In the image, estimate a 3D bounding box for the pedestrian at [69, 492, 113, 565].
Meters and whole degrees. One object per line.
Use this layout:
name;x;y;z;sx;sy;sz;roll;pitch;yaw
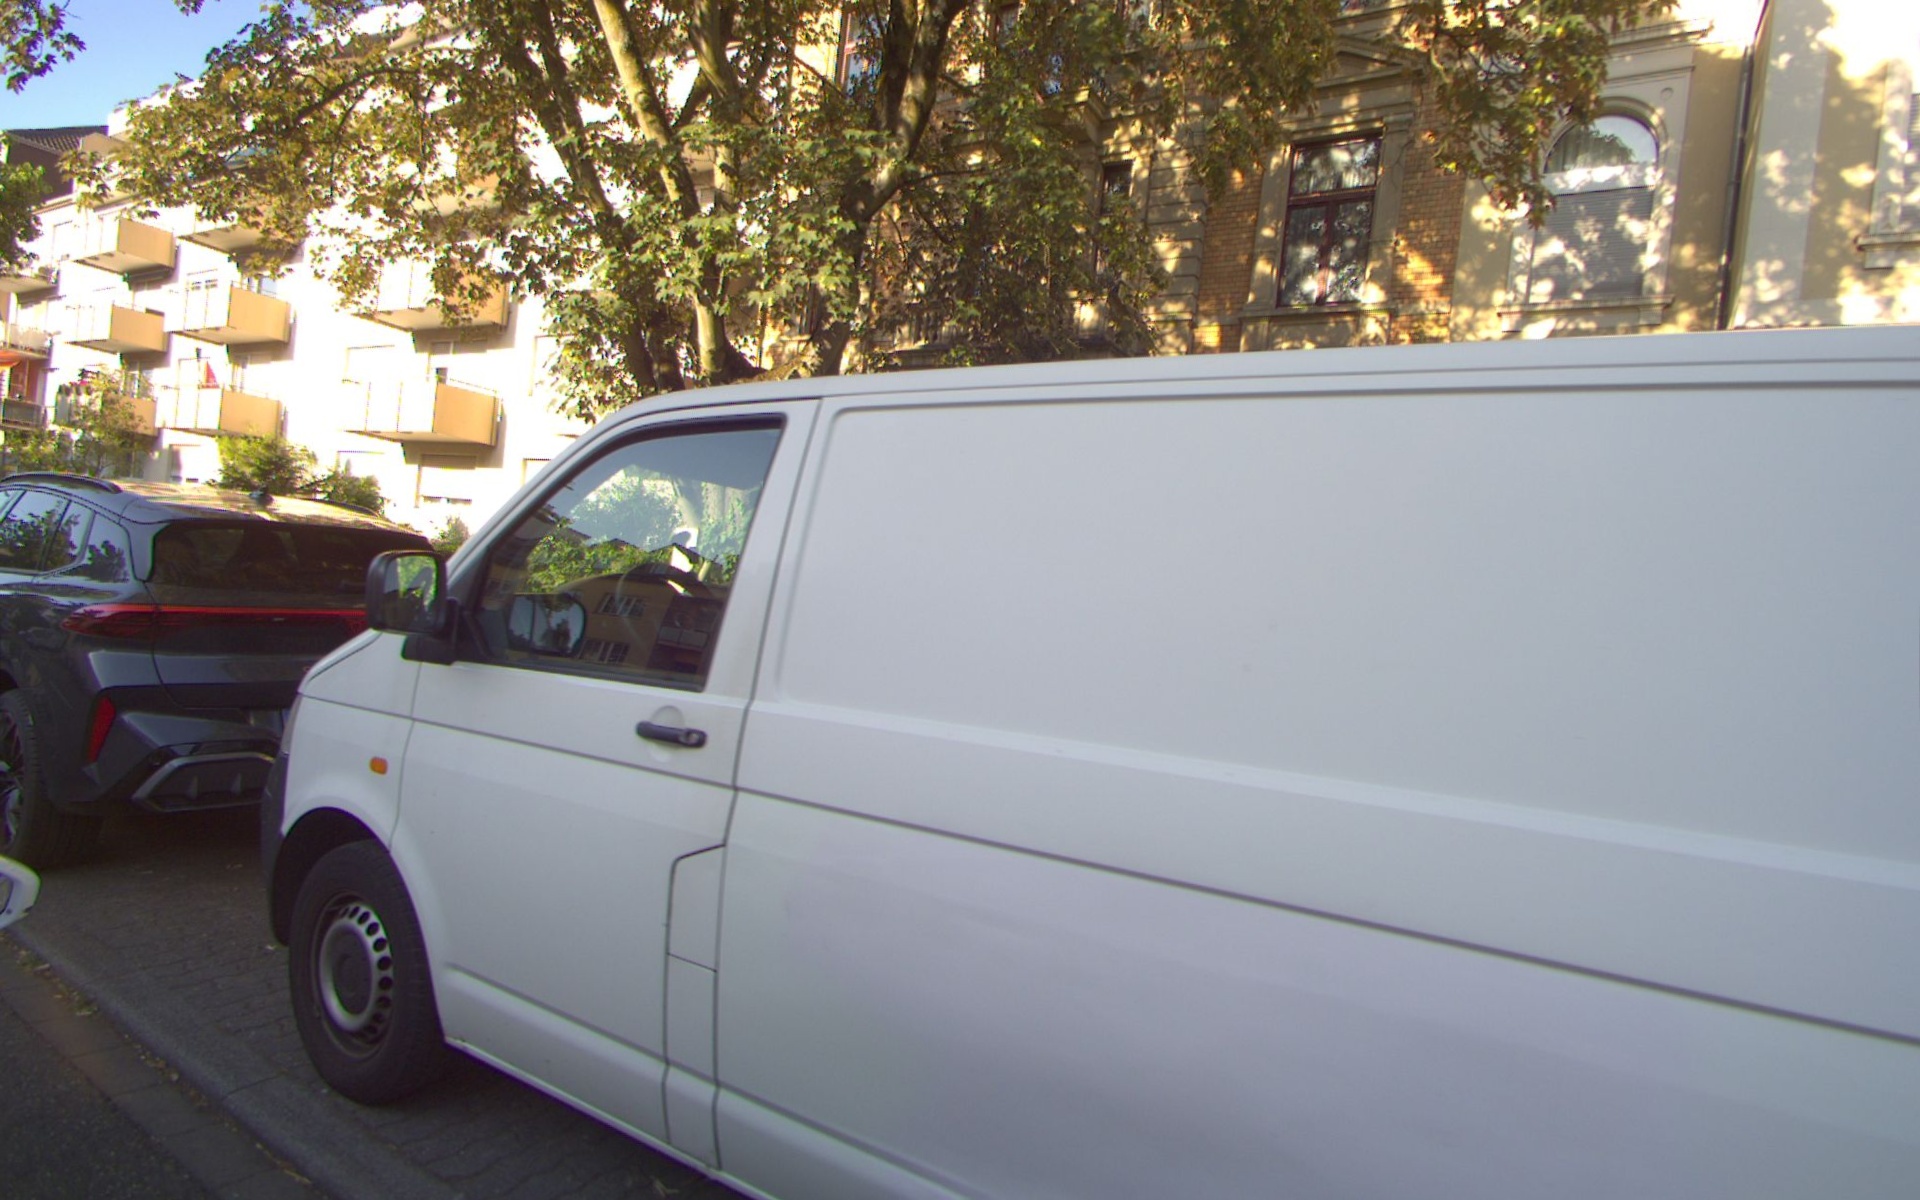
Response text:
pedestrian;-20.832;-1.700;24.132;0.526;1.660;0.475;6;1;13

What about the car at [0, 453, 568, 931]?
car;-4.276;0.154;5.330;4.240;1.625;1.856;6;3;32

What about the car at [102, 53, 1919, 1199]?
car;0.031;0.442;2.589;4.562;2.129;1.905;6;0;30
